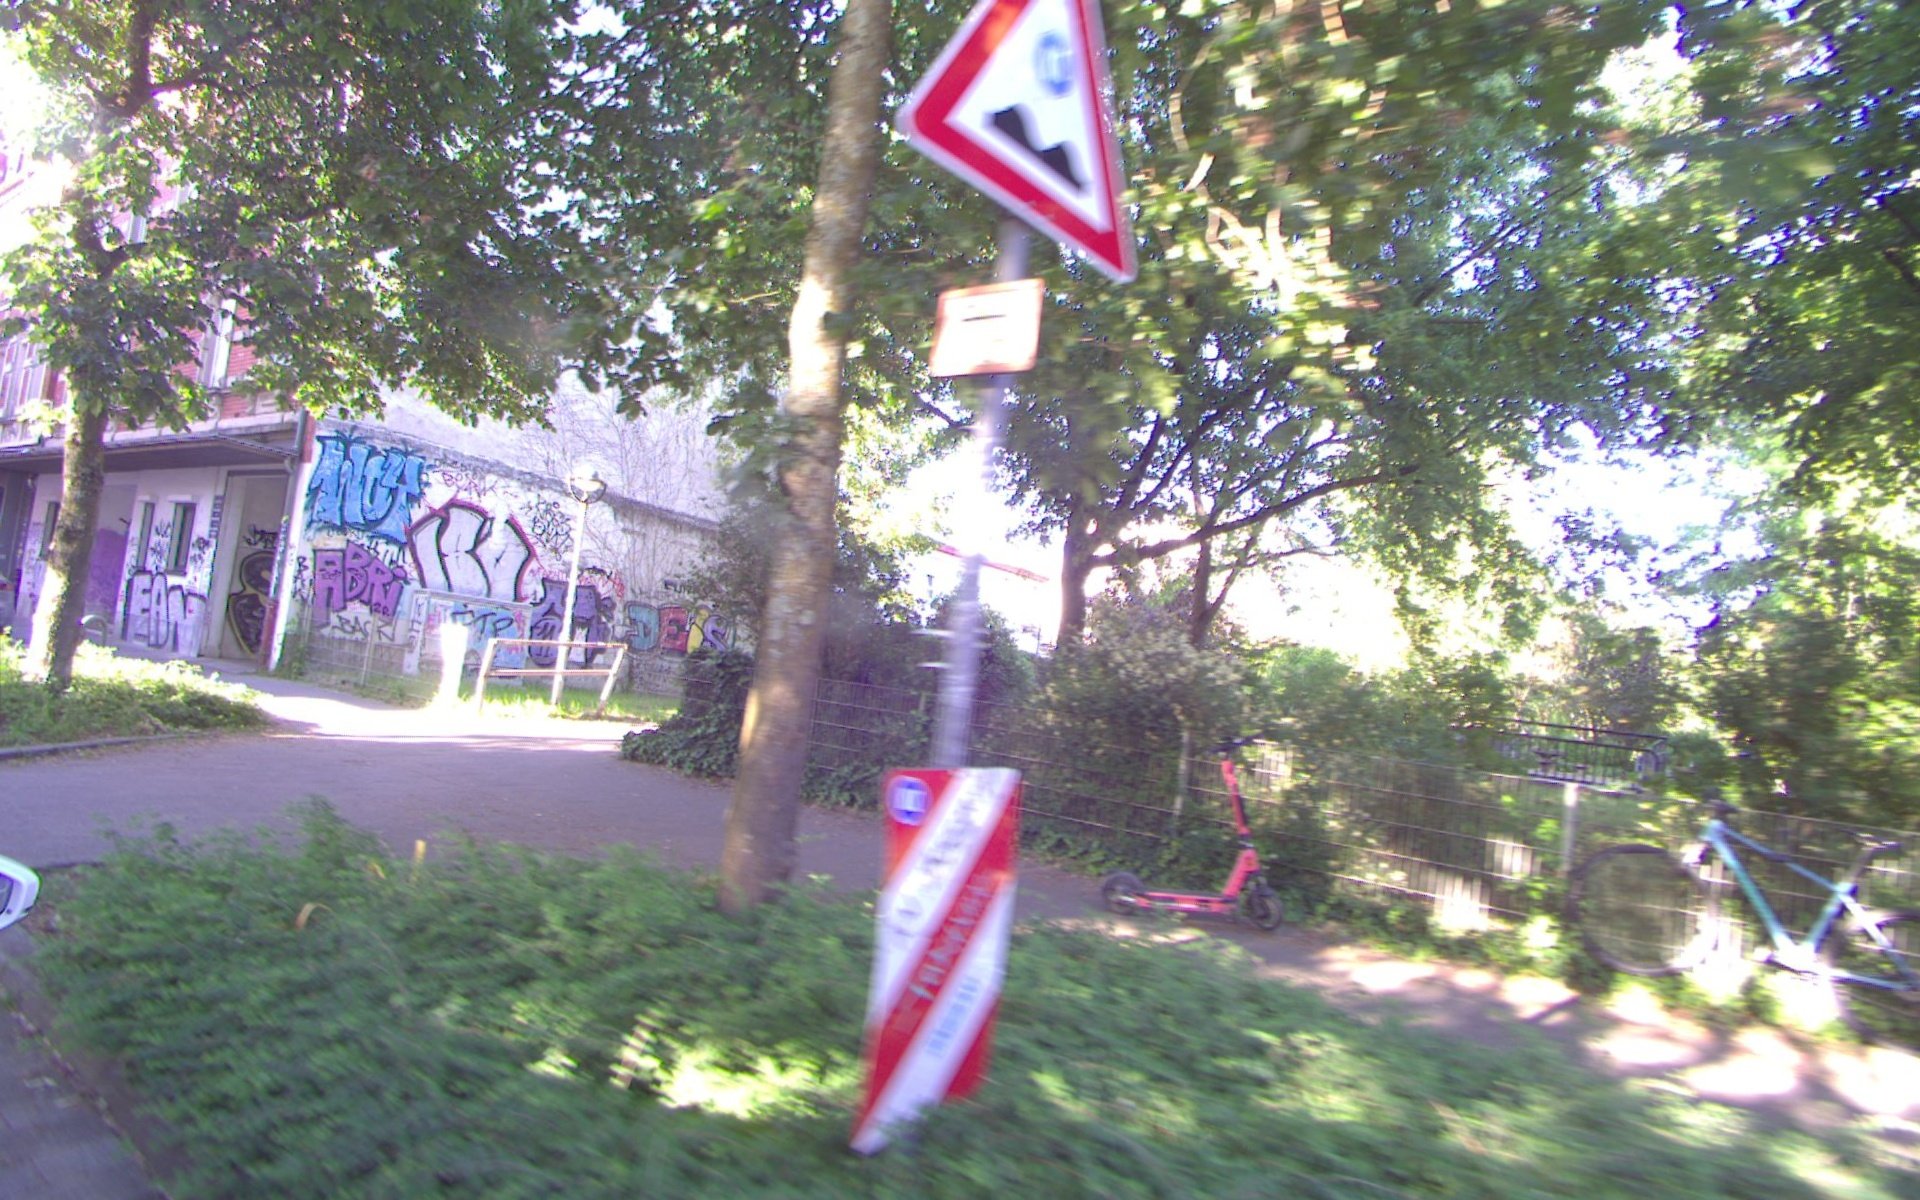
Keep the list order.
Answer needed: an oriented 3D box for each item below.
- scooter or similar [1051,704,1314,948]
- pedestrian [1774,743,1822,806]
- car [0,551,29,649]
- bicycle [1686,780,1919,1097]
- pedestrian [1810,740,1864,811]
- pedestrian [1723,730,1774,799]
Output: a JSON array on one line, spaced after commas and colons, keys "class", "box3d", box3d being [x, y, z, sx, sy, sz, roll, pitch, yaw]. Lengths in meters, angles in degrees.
[{"class": "scooter or similar", "box3d": [1.367, 1.389, 6.360, 1.445, 1.276, 0.547, 6, -2, 4]}, {"class": "pedestrian", "box3d": [29.362, 6.099, 35.251, 0.736, 2.036, 0.911, 6, -2, -8]}, {"class": "car", "box3d": [-17.781, -0.208, 17.152, 4.329, 1.579, 1.725, 4, -5, 34]}, {"class": "bicycle", "box3d": [5.058, 1.710, 4.667, 2.651, 1.282, 0.847, 5, -3, 37]}, {"class": "pedestrian", "box3d": [27.267, 5.438, 31.282, 0.736, 2.036, 0.911, 6, -2, -8]}, {"class": "pedestrian", "box3d": [25.343, 5.280, 32.357, 0.736, 2.036, 0.911, 6, -2, -8]}]
